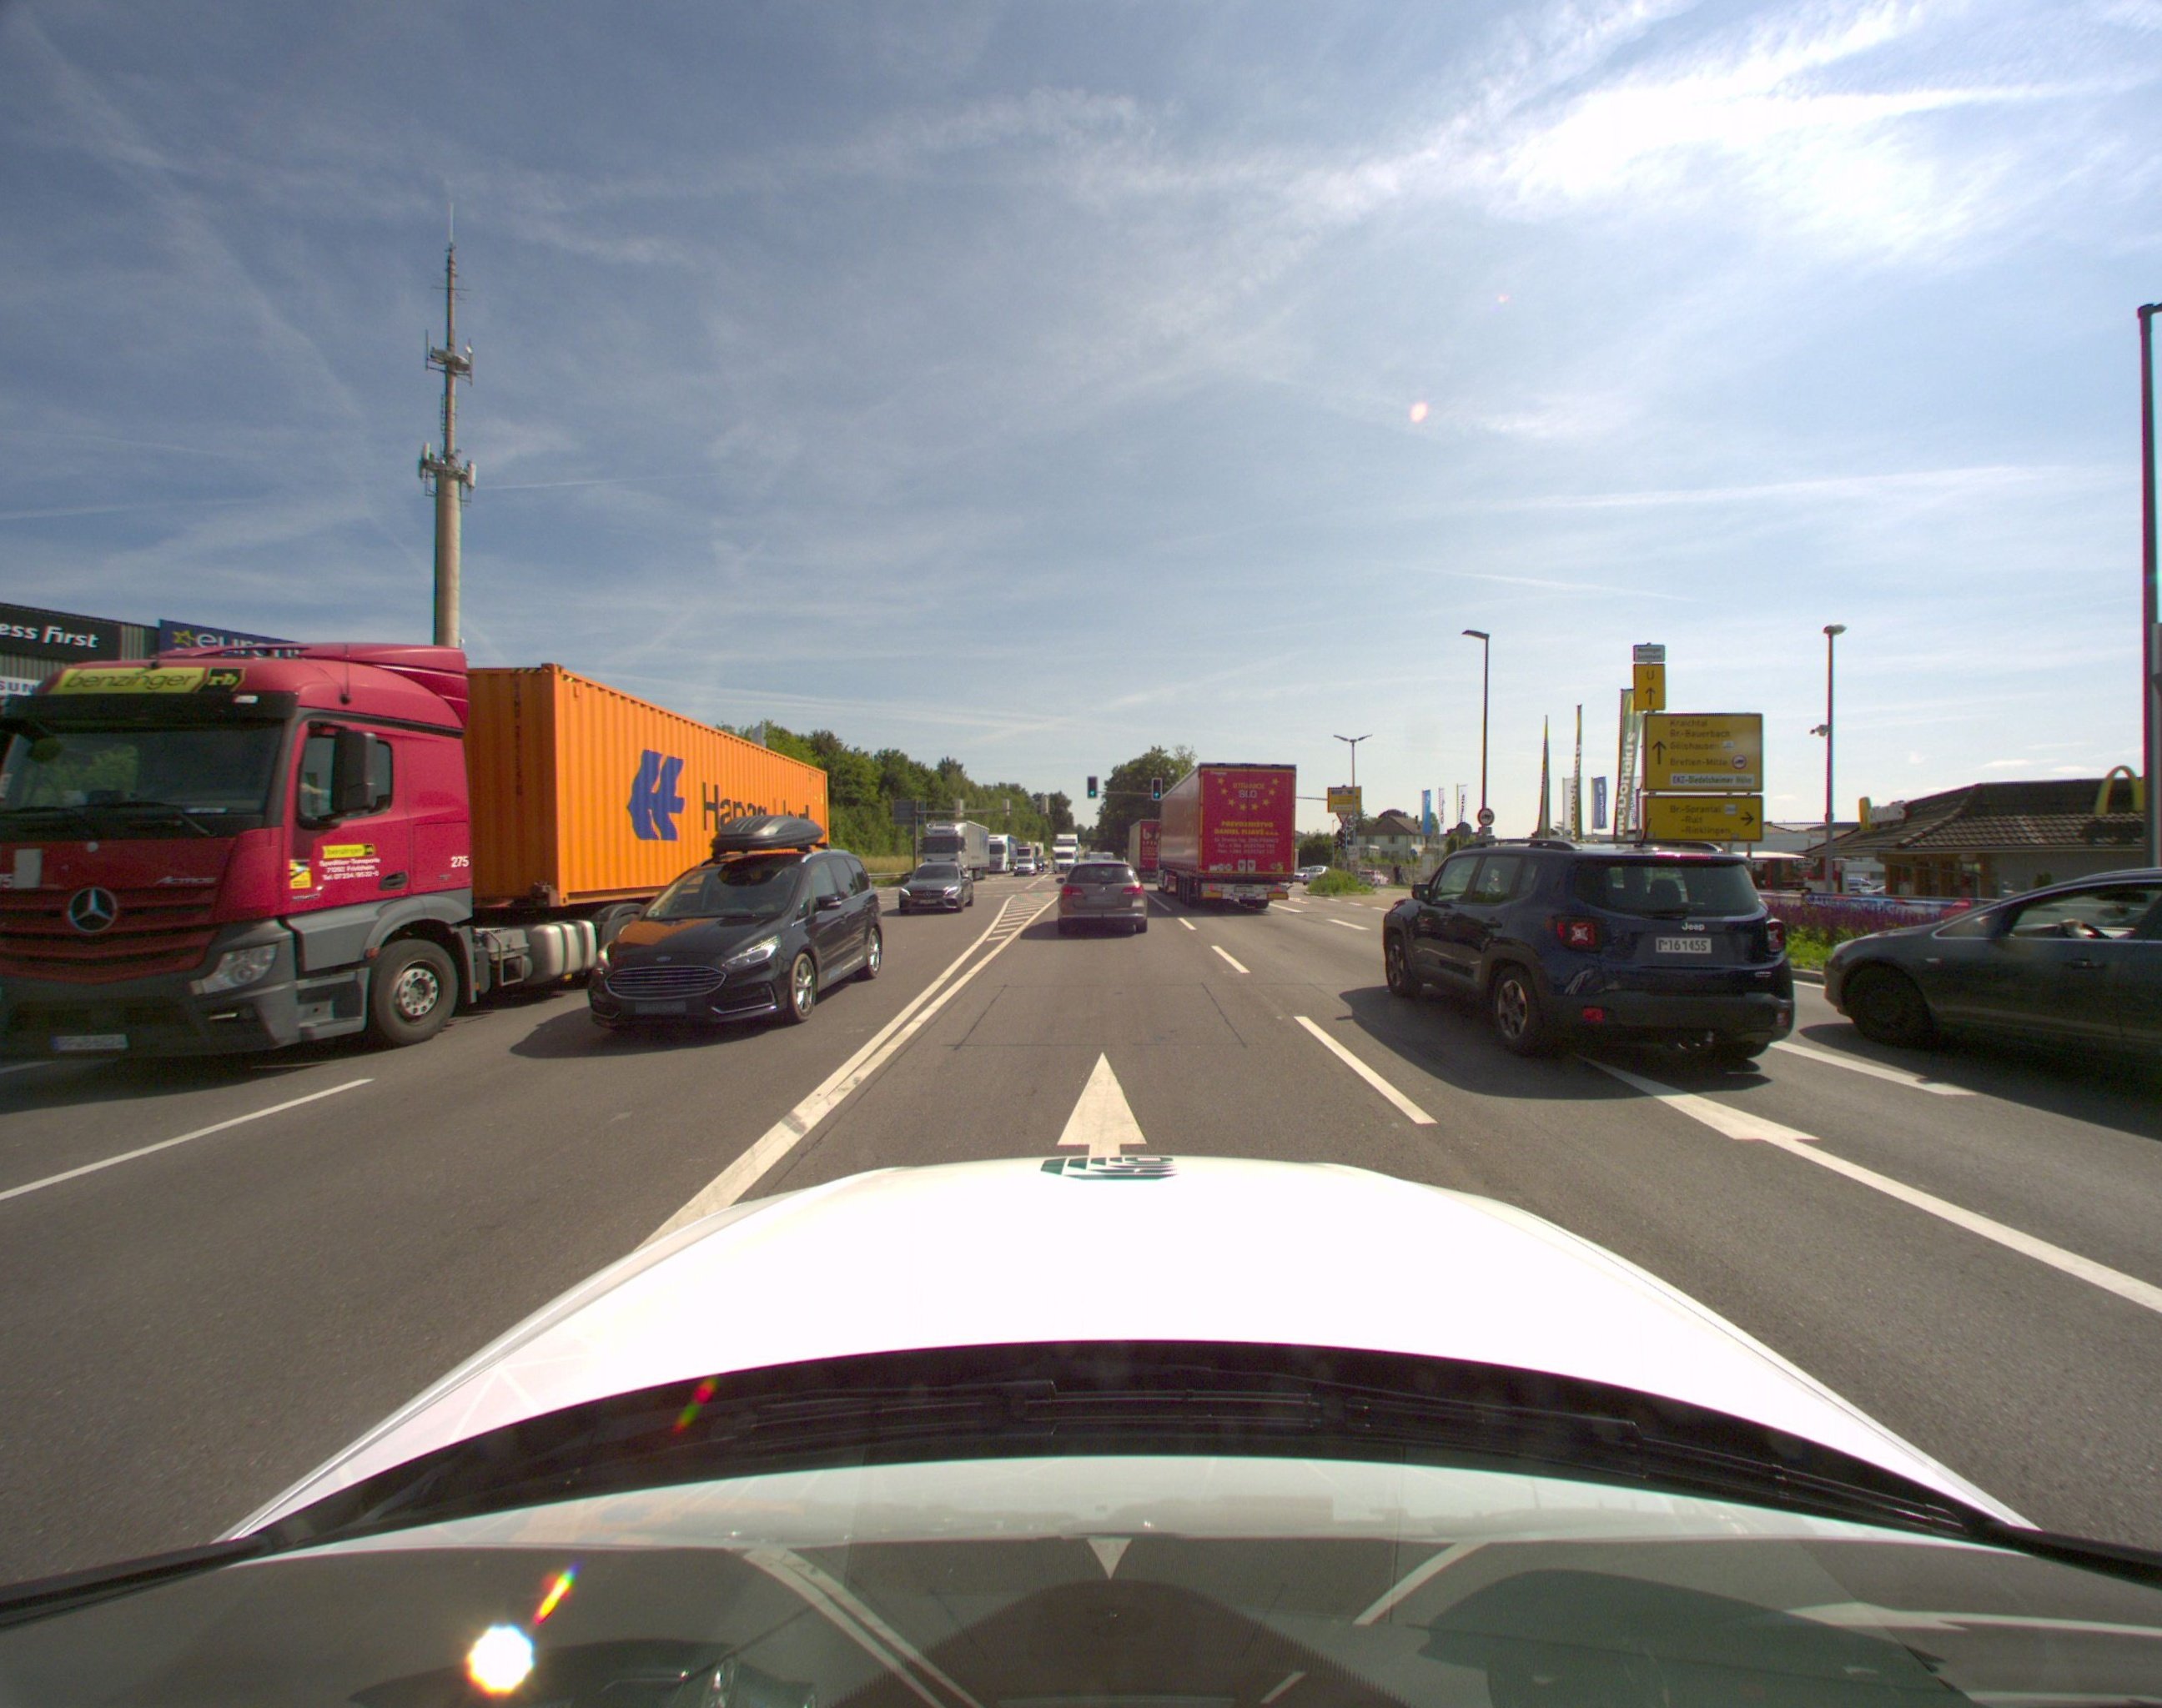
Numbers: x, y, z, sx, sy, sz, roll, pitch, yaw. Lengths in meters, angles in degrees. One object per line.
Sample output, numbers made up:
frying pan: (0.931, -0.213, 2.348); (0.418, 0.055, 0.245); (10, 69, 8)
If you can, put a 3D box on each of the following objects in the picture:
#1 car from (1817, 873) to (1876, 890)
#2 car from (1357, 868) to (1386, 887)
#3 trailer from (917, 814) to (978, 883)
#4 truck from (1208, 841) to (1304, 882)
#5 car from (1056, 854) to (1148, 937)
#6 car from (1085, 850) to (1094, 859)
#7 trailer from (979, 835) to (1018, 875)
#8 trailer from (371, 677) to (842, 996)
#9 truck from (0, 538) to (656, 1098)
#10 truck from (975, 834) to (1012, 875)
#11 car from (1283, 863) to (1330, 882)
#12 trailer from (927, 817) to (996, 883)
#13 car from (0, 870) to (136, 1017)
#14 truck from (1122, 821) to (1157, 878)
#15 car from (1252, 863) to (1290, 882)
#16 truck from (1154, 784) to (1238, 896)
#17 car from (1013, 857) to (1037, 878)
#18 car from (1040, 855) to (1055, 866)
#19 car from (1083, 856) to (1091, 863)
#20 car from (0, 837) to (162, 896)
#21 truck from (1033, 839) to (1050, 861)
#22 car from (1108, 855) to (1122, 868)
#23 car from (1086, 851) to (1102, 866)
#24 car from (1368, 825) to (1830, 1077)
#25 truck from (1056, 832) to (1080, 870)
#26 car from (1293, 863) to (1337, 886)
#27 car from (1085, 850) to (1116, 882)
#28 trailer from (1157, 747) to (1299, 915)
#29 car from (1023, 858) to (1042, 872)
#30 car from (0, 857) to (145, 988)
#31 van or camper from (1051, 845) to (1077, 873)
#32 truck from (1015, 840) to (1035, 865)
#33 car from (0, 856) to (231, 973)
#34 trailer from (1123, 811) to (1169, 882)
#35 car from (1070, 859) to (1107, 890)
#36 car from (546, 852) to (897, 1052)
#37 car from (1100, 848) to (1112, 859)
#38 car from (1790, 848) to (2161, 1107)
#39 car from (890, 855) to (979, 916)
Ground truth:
car: (76.344, 2.728, 81.281); (4.135, 1.618, 2.021); (-1, 0, 40)
car: (26.127, 2.087, 73.204); (1.758, 1.575, 3.730); (2, 0, 30)
trailer: (-8.362, -0.329, 51.779); (2.636, 4.105, 6.182); (-1, 0, 1)
truck: (18.648, 0.822, 86.554); (9.692, 3.628, 2.751); (5, -2, -17)
car: (0.368, 0.780, 17.121); (1.686, 1.513, 3.998); (-1, 0, -1)
car: (2.097, 0.191, 191.883); (1.987, 2.014, 3.998); (-1, 0, -1)
trailer: (-9.055, 0.169, 91.039); (3.084, 4.080, 14.121); (-1, 0, -1)
trailer: (-7.767, -0.208, 16.386); (2.714, 3.998, 12.223); (-1, 0, -2)
truck: (-7.486, -0.252, 8.848); (2.714, 3.998, 6.052); (-1, 0, -2)
truck: (-9.012, 0.065, 84.401); (3.178, 4.080, 6.343); (-1, 0, -1)
car: (19.709, 1.626, 71.003); (1.975, 1.505, 5.030); (1, -2, 40)
trailer: (-8.281, -0.245, 58.444); (2.682, 4.147, 13.880); (-1, 0, 1)
car: (-13.590, 0.907, 8.355); (4.738, 1.513, 1.933); (3, -1, -39)
truck: (4.427, -0.336, 62.643); (2.397, 4.128, 5.522); (-1, 0, 1)
car: (16.992, 1.648, 72.689); (1.689, 1.504, 3.778); (1, -2, 40)
truck: (4.702, -0.525, 34.387); (2.859, 4.281, 5.842); (1, 0, 2)
car: (-4.882, 1.129, 71.796); (1.837, 1.732, 4.587); (1, 0, -1)
car: (-4.676, 0.948, 113.769); (1.719, 1.502, 4.001); (-1, 0, 1)
car: (1.691, 1.482, 229.938); (1.987, 2.014, 3.998); (-1, 0, -1)
car: (-26.758, 0.304, 20.228); (5.001, 1.419, 1.926); (3, -3, -43)
truck: (-7.487, -0.760, 156.013); (2.821, 4.116, 9.677); (-1, 0, -1)
car: (5.320, 1.147, 128.070); (1.987, 2.014, 3.998); (-1, 0, -1)
car: (1.703, 0.616, 109.419); (1.987, 2.014, 3.998); (-1, 0, -1)
car: (4.142, 0.656, 7.414); (1.763, 1.654, 4.002); (-1, 0, 2)
truck: (-1.507, -0.293, 92.774); (2.530, 4.088, 6.261); (-1, 0, -2)
car: (17.658, 1.561, 61.276); (1.974, 1.575, 4.025); (2, 0, 35)
car: (1.208, 0.734, 52.037); (1.765, 1.936, 3.976); (-1, 0, -1)
trailer: (4.486, -0.580, 27.959); (2.829, 4.365, 13.172); (1, 0, 2)
car: (-5.188, 1.181, 88.225); (1.989, 1.485, 4.449); (-1, 0, -3)
car: (-15.346, 0.810, 9.947); (4.821, 1.626, 1.909); (3, -2, -40)
van or camper: (-1.583, 0.478, 79.090); (2.323, 2.600, 6.978); (-1, 0, 0)
truck: (-9.389, -0.238, 136.373); (2.721, 3.999, 9.616); (-1, 0, -1)
car: (-16.263, 0.869, 12.145); (4.767, 1.626, 1.867); (3, -2, -42)
trailer: (4.255, -0.414, 55.533); (2.386, 4.243, 13.081); (-1, 0, 1)
car: (0.333, 1.007, 41.642); (1.765, 1.513, 3.998); (-1, 0, -1)
car: (-3.556, 0.820, 9.186); (1.903, 1.602, 4.587); (-2, 0, -1)
car: (4.790, -0.143, 156.908); (1.987, 2.014, 3.998); (-1, 0, -1)
car: (7.382, 0.724, 5.118); (1.987, 1.519, 4.449); (-1, 0, 0)
car: (-4.418, 0.897, 25.251); (1.915, 1.602, 4.587); (-2, 0, -1)
